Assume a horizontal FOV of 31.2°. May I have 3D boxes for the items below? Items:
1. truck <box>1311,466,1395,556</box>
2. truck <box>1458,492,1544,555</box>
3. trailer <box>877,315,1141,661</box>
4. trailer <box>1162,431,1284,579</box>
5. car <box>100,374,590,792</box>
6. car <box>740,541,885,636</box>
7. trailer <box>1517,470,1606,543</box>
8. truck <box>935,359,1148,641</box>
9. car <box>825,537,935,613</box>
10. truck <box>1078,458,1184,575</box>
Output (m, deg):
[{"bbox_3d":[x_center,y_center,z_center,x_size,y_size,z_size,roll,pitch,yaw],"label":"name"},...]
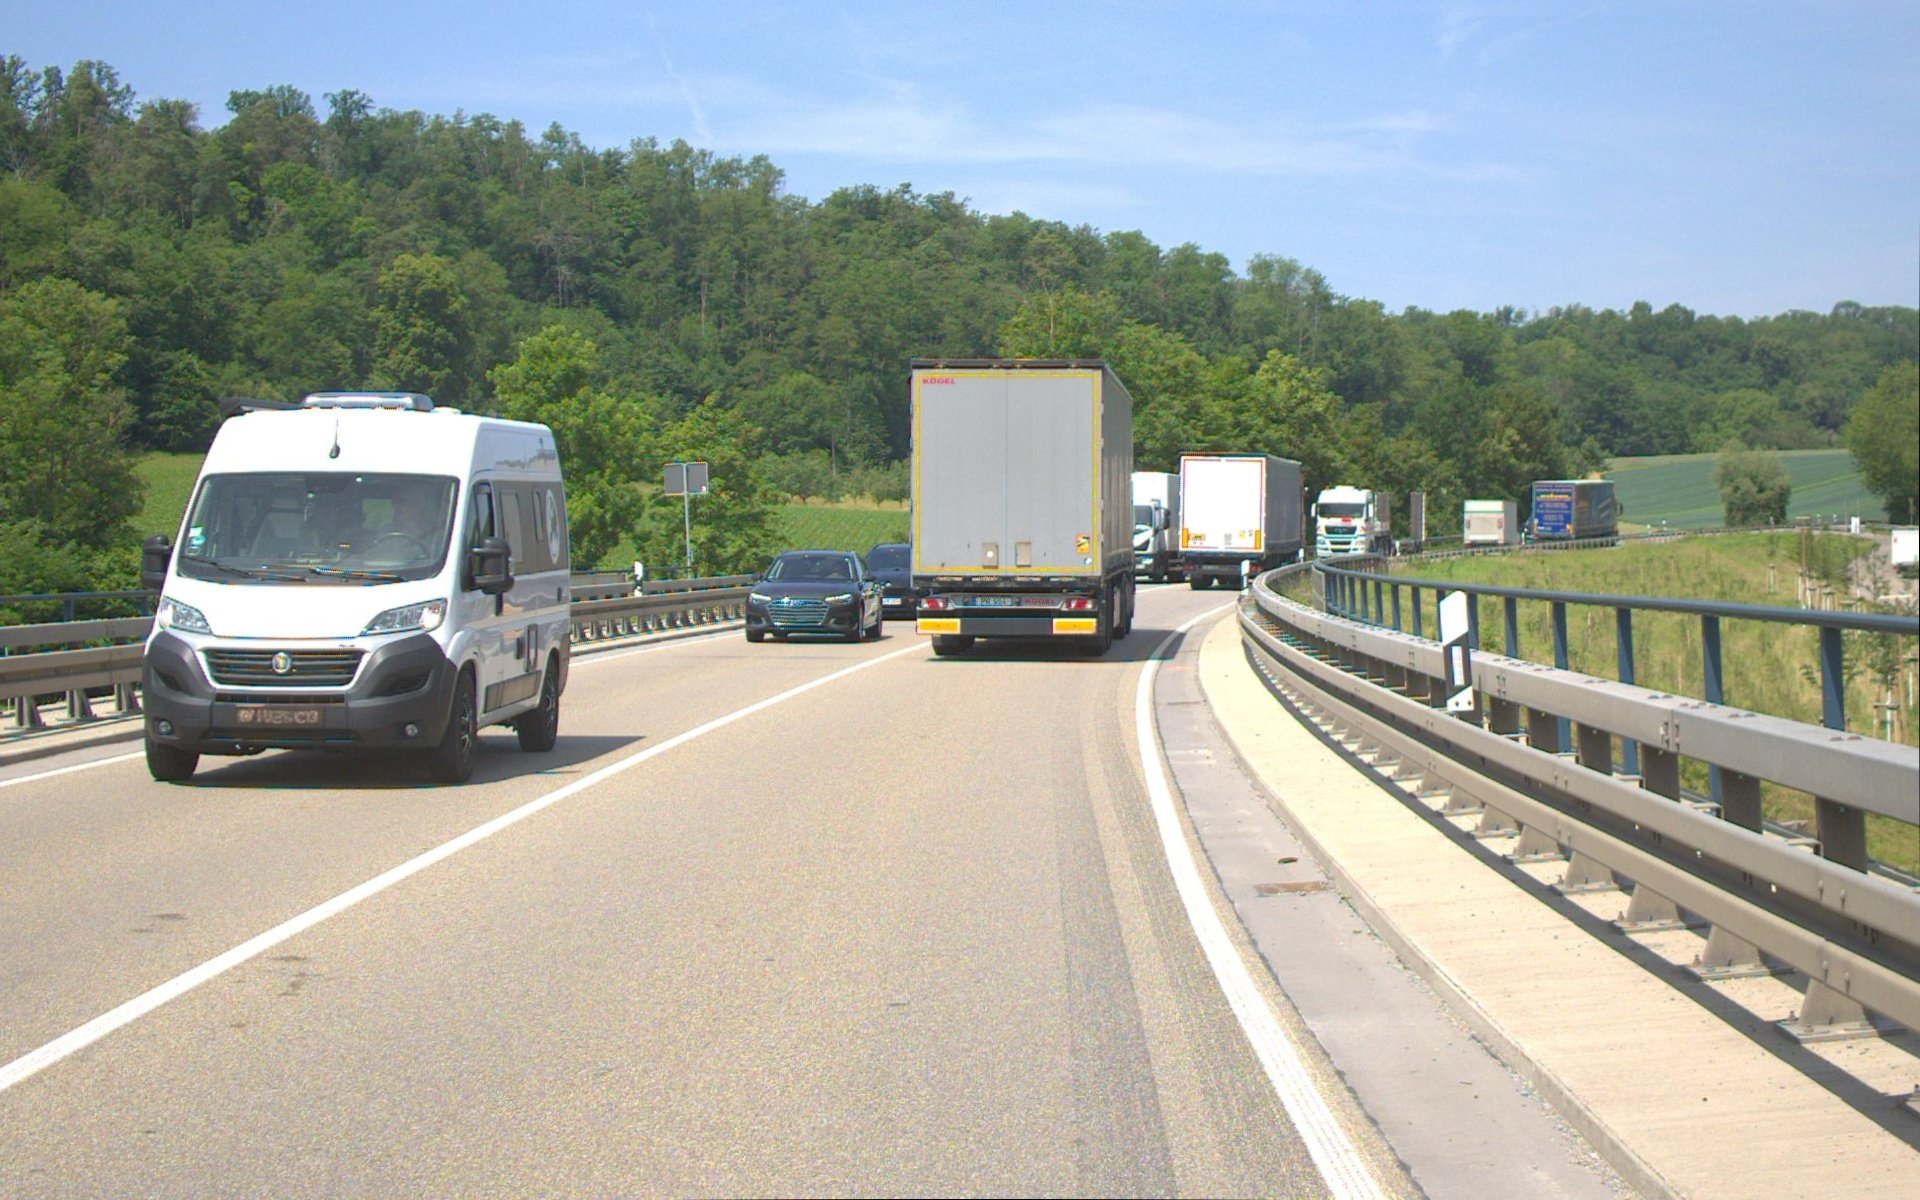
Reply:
[{"bbox_3d":[19.280,-4.296,168.193,3.062,4.248,9.862,0,1,13],"label":"truck"},{"bbox_3d":[29.522,-4.116,187.186,3.225,3.354,11.866,0,1,16],"label":"truck"},{"bbox_3d":[0.993,-1.563,51.717,3.119,4.484,13.884,0,1,4],"label":"trailer"},{"bbox_3d":[8.295,-2.850,106.901,3.366,4.302,13.861,0,1,6],"label":"trailer"},{"bbox_3d":[-4.099,-0.159,24.041,2.179,2.550,5.797,1,1,2],"label":"car"},{"bbox_3d":[-2.310,-0.212,54.923,1.721,1.430,4.616,1,1,5],"label":"car"},{"bbox_3d":[36.559,-5.616,208.568,3.651,4.248,12.184,0,1,18],"label":"trailer"},{"bbox_3d":[1.482,-1.660,58.141,3.119,4.479,6.810,0,1,5],"label":"truck"},{"bbox_3d":[-1.594,-0.526,69.784,1.721,1.477,4.569,1,1,5],"label":"car"},{"bbox_3d":[5.840,-2.824,115.869,2.915,3.790,9.706,0,2,7],"label":"truck"}]
